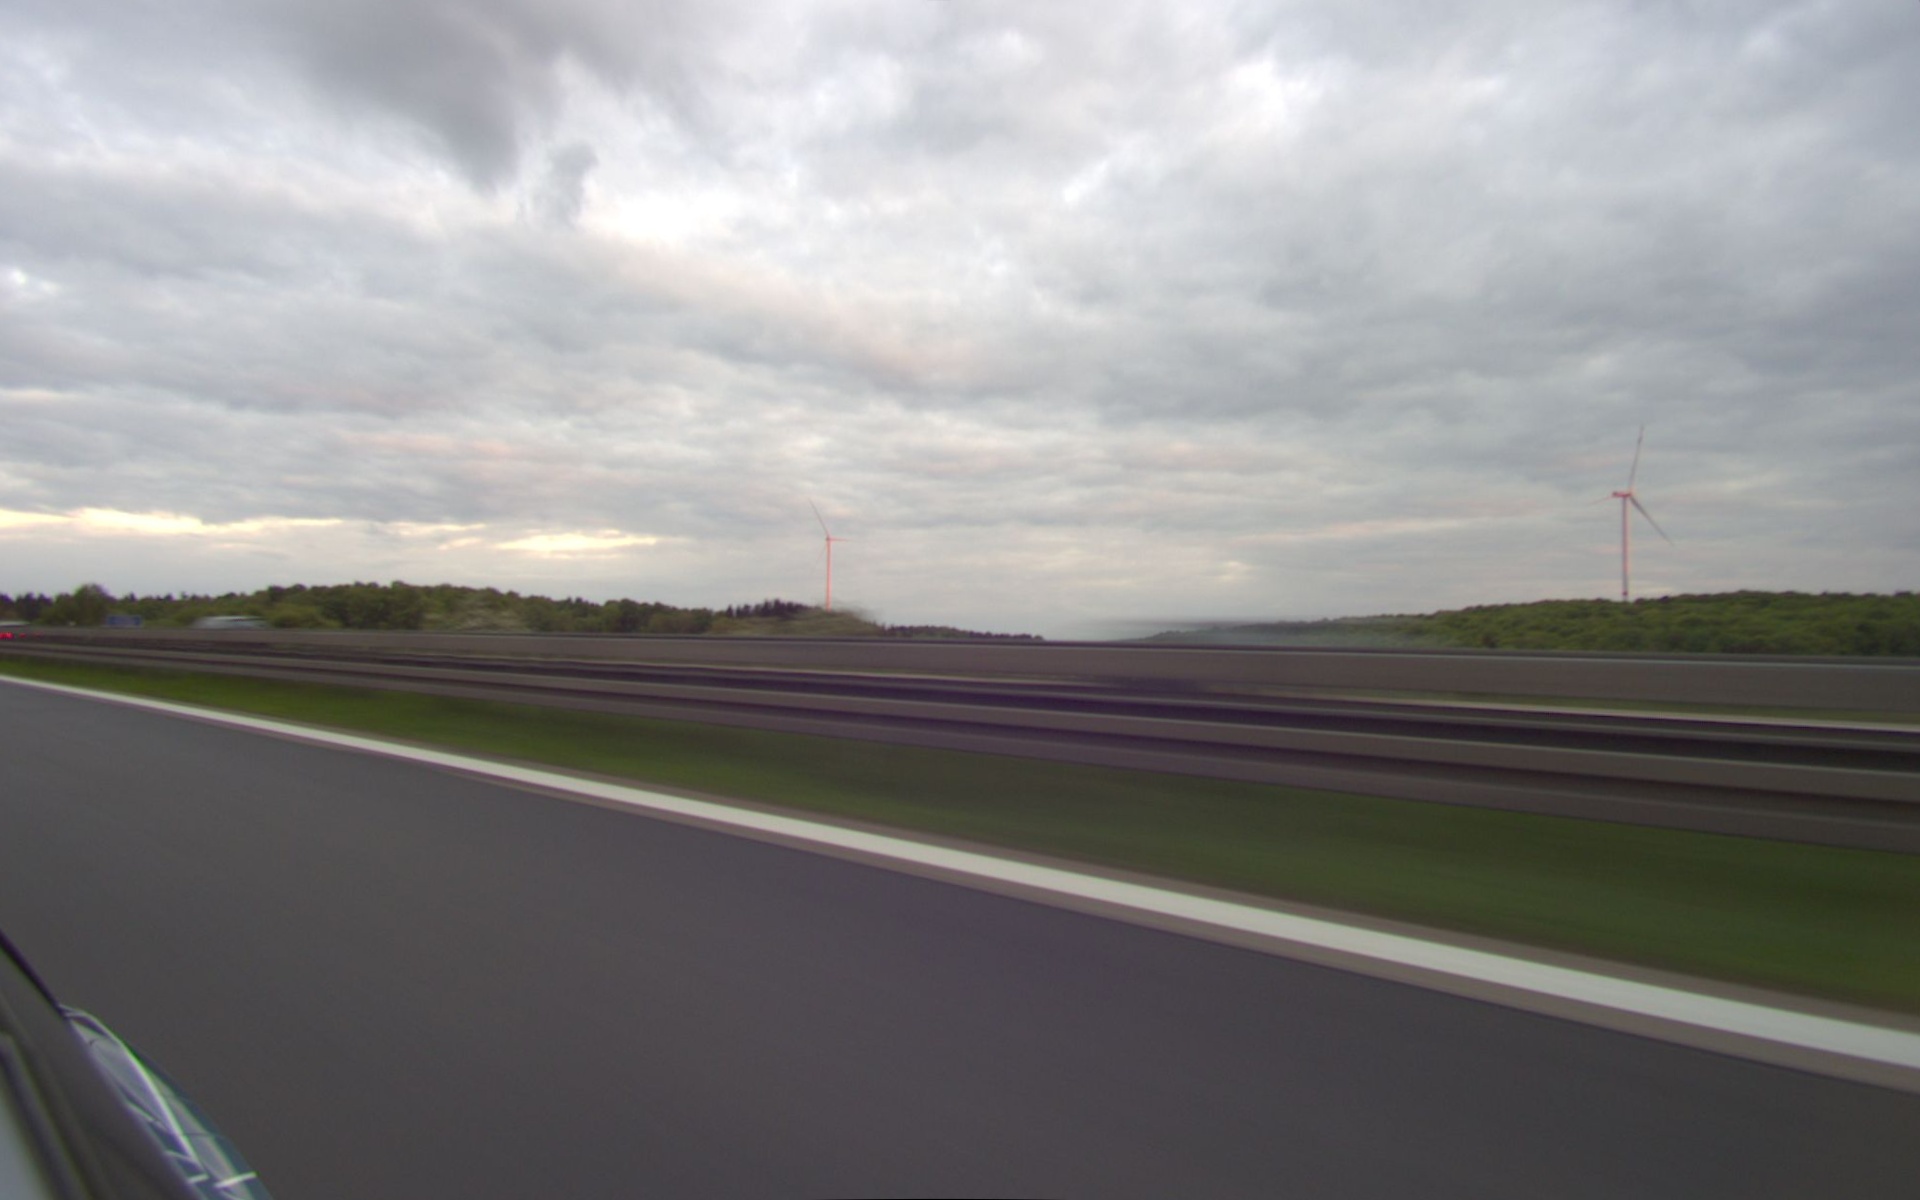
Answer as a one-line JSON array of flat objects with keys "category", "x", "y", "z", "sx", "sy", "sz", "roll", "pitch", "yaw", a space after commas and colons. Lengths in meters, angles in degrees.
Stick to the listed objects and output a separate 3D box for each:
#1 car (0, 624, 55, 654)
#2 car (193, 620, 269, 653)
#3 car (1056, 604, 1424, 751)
[{"category": "car", "x": -45.055, "y": 1.871, "z": 48.565, "sx": 4.240, "sy": 1.403, "sz": 1.591, "roll": -1, "pitch": -3, "yaw": 37}, {"category": "car", "x": -30.715, "y": 1.544, "z": 42.626, "sx": 3.490, "sy": 1.298, "sz": 1.568, "roll": -1, "pitch": -5, "yaw": 37}, {"category": "car", "x": 3.269, "y": 0.861, "z": 12.243, "sx": 3.996, "sy": 1.495, "sz": 1.593, "roll": -2, "pitch": -3, "yaw": 39}]
